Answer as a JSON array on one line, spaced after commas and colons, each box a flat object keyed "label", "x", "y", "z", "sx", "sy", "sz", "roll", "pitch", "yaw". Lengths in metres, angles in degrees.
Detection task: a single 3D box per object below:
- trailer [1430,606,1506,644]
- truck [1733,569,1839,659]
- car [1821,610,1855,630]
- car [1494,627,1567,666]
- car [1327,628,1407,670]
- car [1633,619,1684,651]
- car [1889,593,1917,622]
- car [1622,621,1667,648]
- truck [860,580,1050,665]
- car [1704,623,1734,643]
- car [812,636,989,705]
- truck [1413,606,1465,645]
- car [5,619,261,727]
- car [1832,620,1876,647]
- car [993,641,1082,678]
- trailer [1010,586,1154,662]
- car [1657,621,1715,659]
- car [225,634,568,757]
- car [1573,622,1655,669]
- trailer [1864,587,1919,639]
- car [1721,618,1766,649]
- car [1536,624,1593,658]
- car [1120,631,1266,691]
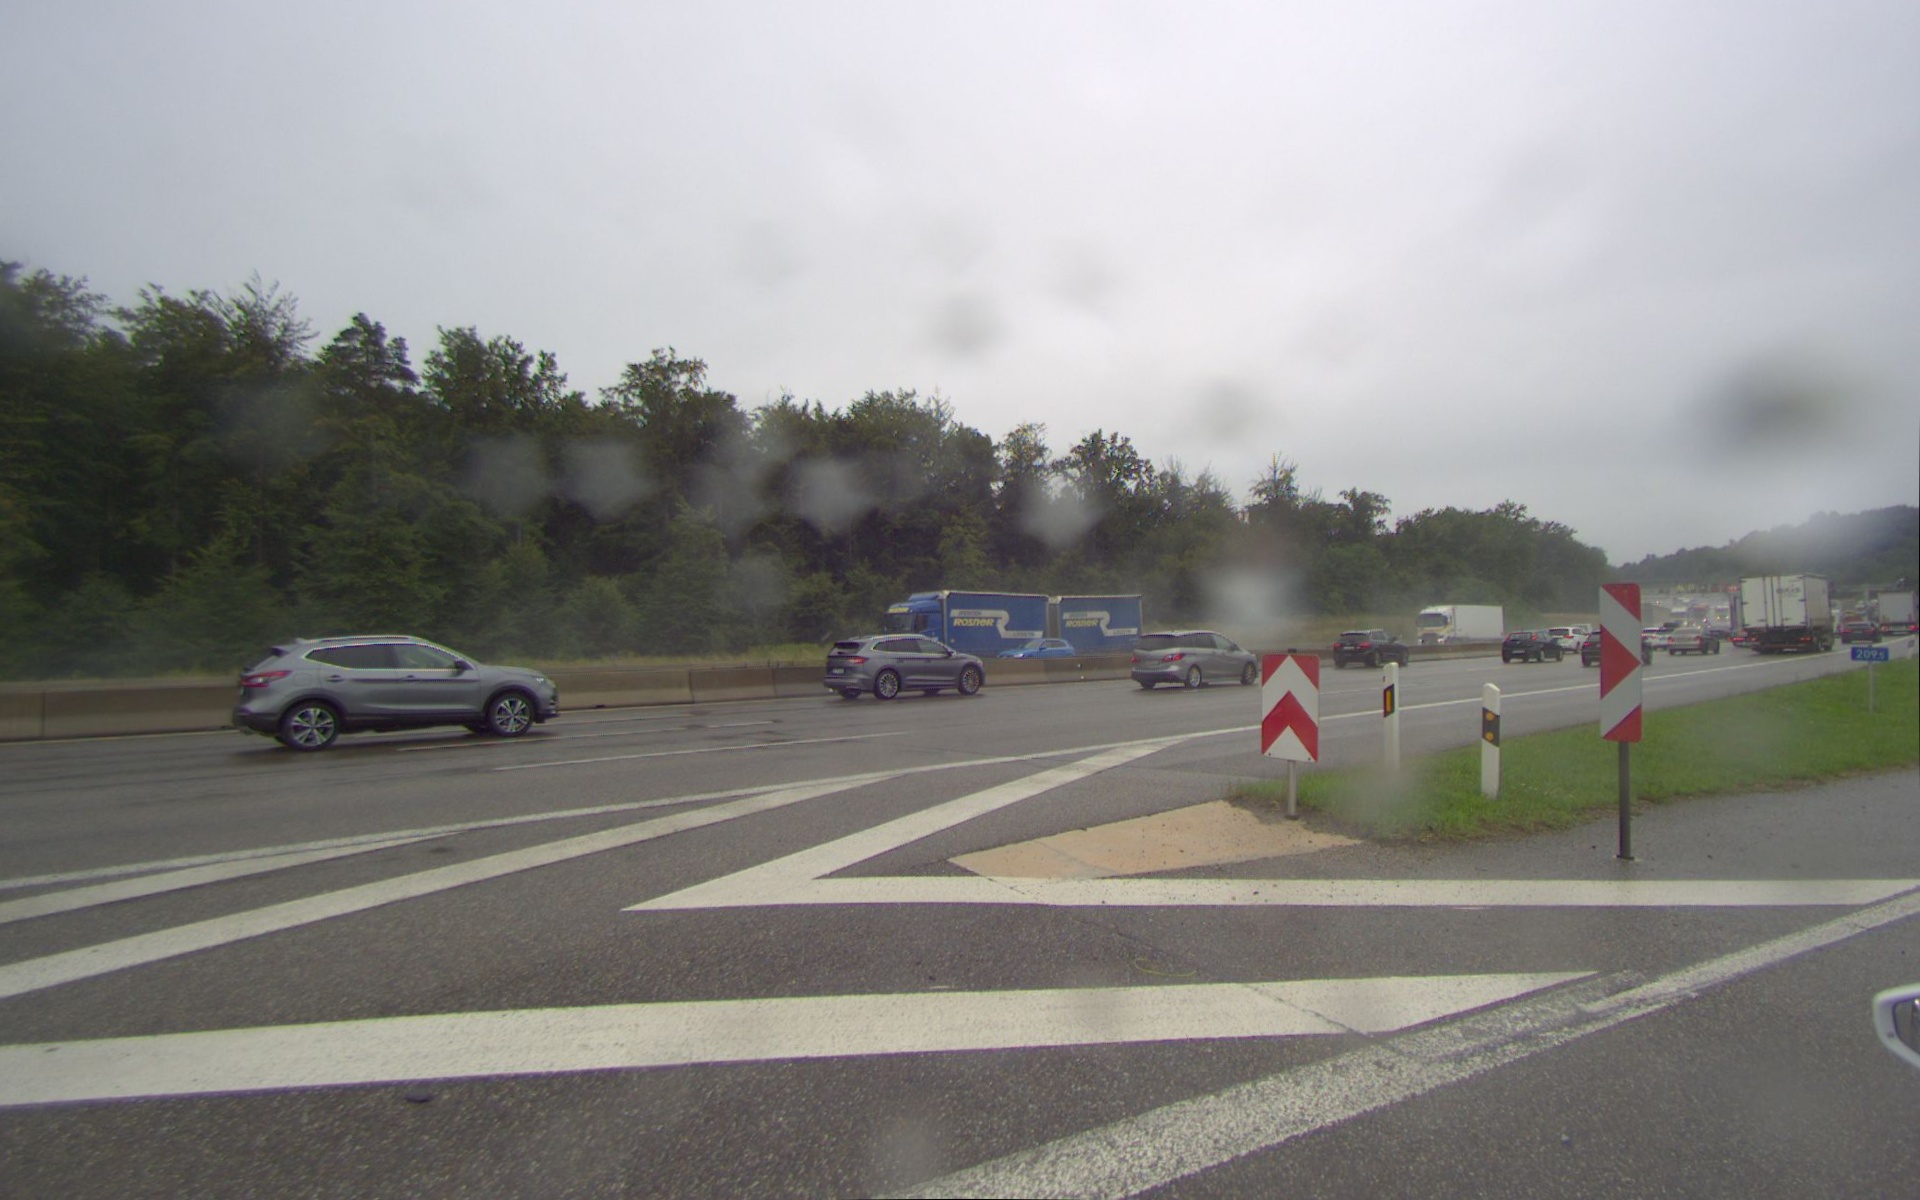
[{"label": "trailer", "x": 50.666, "y": 2.538, "z": 99.951, "sx": 2.622, "sy": 3.543, "sz": 13.399, "roll": -3, "pitch": -3, "yaw": 45}, {"label": "truck", "x": 44.059, "y": 0.866, "z": 53.383, "sx": 11.760, "sy": 4.348, "sz": 2.823, "roll": 2, "pitch": -3, "yaw": -43}, {"label": "car", "x": 83.940, "y": 1.917, "z": 96.000, "sx": 3.968, "sy": 1.840, "sz": 1.976, "roll": 1, "pitch": -1, "yaw": -41}, {"label": "car", "x": 26.855, "y": 2.179, "z": 47.229, "sx": 4.069, "sy": 1.758, "sz": 1.760, "roll": 1, "pitch": -3, "yaw": -42}, {"label": "car", "x": 18.361, "y": 2.192, "z": 45.252, "sx": 4.070, "sy": 1.758, "sz": 1.760, "roll": 1, "pitch": -3, "yaw": -42}, {"label": "car", "x": 46.365, "y": 2.309, "z": 66.669, "sx": 3.972, "sy": 2.040, "sz": 1.975, "roll": 1, "pitch": -3, "yaw": -43}, {"label": "car", "x": 116.463, "y": 0.965, "z": 124.095, "sx": 2.346, "sy": 3.531, "sz": 4.789, "roll": 2, "pitch": 0, "yaw": 42}, {"label": "car", "x": 52.740, "y": 2.670, "z": 77.397, "sx": 3.972, "sy": 2.040, "sz": 1.975, "roll": 1, "pitch": -3, "yaw": -43}, {"label": "truck", "x": -0.048, "y": 1.201, "z": 52.611, "sx": 10.479, "sy": 4.033, "sz": 3.033, "roll": 2, "pitch": 1, "yaw": -42}, {"label": "car", "x": 70.166, "y": 3.005, "z": 92.865, "sx": 3.761, "sy": 1.810, "sz": 1.681, "roll": 1, "pitch": -2, "yaw": -45}, {"label": "car", "x": -1.481, "y": 1.780, "z": 26.082, "sx": 4.422, "sy": 1.594, "sz": 1.705, "roll": 1, "pitch": -4, "yaw": -40}, {"label": "truck", "x": 44.844, "y": 2.396, "z": 94.043, "sx": 5.565, "sy": 3.497, "sz": 2.620, "roll": 1, "pitch": -3, "yaw": -45}, {"label": "car", "x": -17.148, "y": 1.449, "z": 21.012, "sx": 3.969, "sy": 2.040, "sz": 1.858, "roll": 1, "pitch": -3, "yaw": -42}, {"label": "car", "x": 63.737, "y": 2.351, "z": 71.592, "sx": 3.972, "sy": 1.840, "sz": 1.975, "roll": 1, "pitch": -2, "yaw": -43}, {"label": "car", "x": 3.901, "y": 2.930, "z": 50.062, "sx": 4.335, "sy": 1.741, "sz": 1.977, "roll": 2, "pitch": -4, "yaw": -41}, {"label": "trailer", "x": 7.317, "y": 1.450, "z": 59.170, "sx": 9.098, "sy": 4.101, "sz": 3.062, "roll": 2, "pitch": 1, "yaw": -42}, {"label": "car", "x": 39.018, "y": 2.123, "z": 53.949, "sx": 4.305, "sy": 1.997, "sz": 1.771, "roll": 1, "pitch": -2, "yaw": -44}, {"label": "car", "x": -8.417, "y": 1.344, "z": 15.232, "sx": 4.300, "sy": 1.595, "sz": 1.704, "roll": 1, "pitch": -4, "yaw": -41}, {"label": "car", "x": 25.558, "y": 1.773, "z": 39.214, "sx": 3.819, "sy": 1.758, "sz": 1.760, "roll": 1, "pitch": -3, "yaw": -42}, {"label": "trailer", "x": 90.727, "y": 1.404, "z": 98.006, "sx": 3.510, "sy": 4.672, "sz": 12.055, "roll": -3, "pitch": -4, "yaw": 42}, {"label": "car", "x": 53.324, "y": 2.272, "z": 68.338, "sx": 1.973, "sy": 2.040, "sz": 3.976, "roll": -4, "pitch": -4, "yaw": 44}, {"label": "car", "x": 38.241, "y": 2.591, "z": 63.518, "sx": 3.972, "sy": 2.040, "sz": 1.975, "roll": 1, "pitch": -4, "yaw": -43}, {"label": "car", "x": 6.669, "y": 1.702, "z": 28.514, "sx": 4.298, "sy": 1.546, "sz": 1.774, "roll": 1, "pitch": -3, "yaw": -40}]
